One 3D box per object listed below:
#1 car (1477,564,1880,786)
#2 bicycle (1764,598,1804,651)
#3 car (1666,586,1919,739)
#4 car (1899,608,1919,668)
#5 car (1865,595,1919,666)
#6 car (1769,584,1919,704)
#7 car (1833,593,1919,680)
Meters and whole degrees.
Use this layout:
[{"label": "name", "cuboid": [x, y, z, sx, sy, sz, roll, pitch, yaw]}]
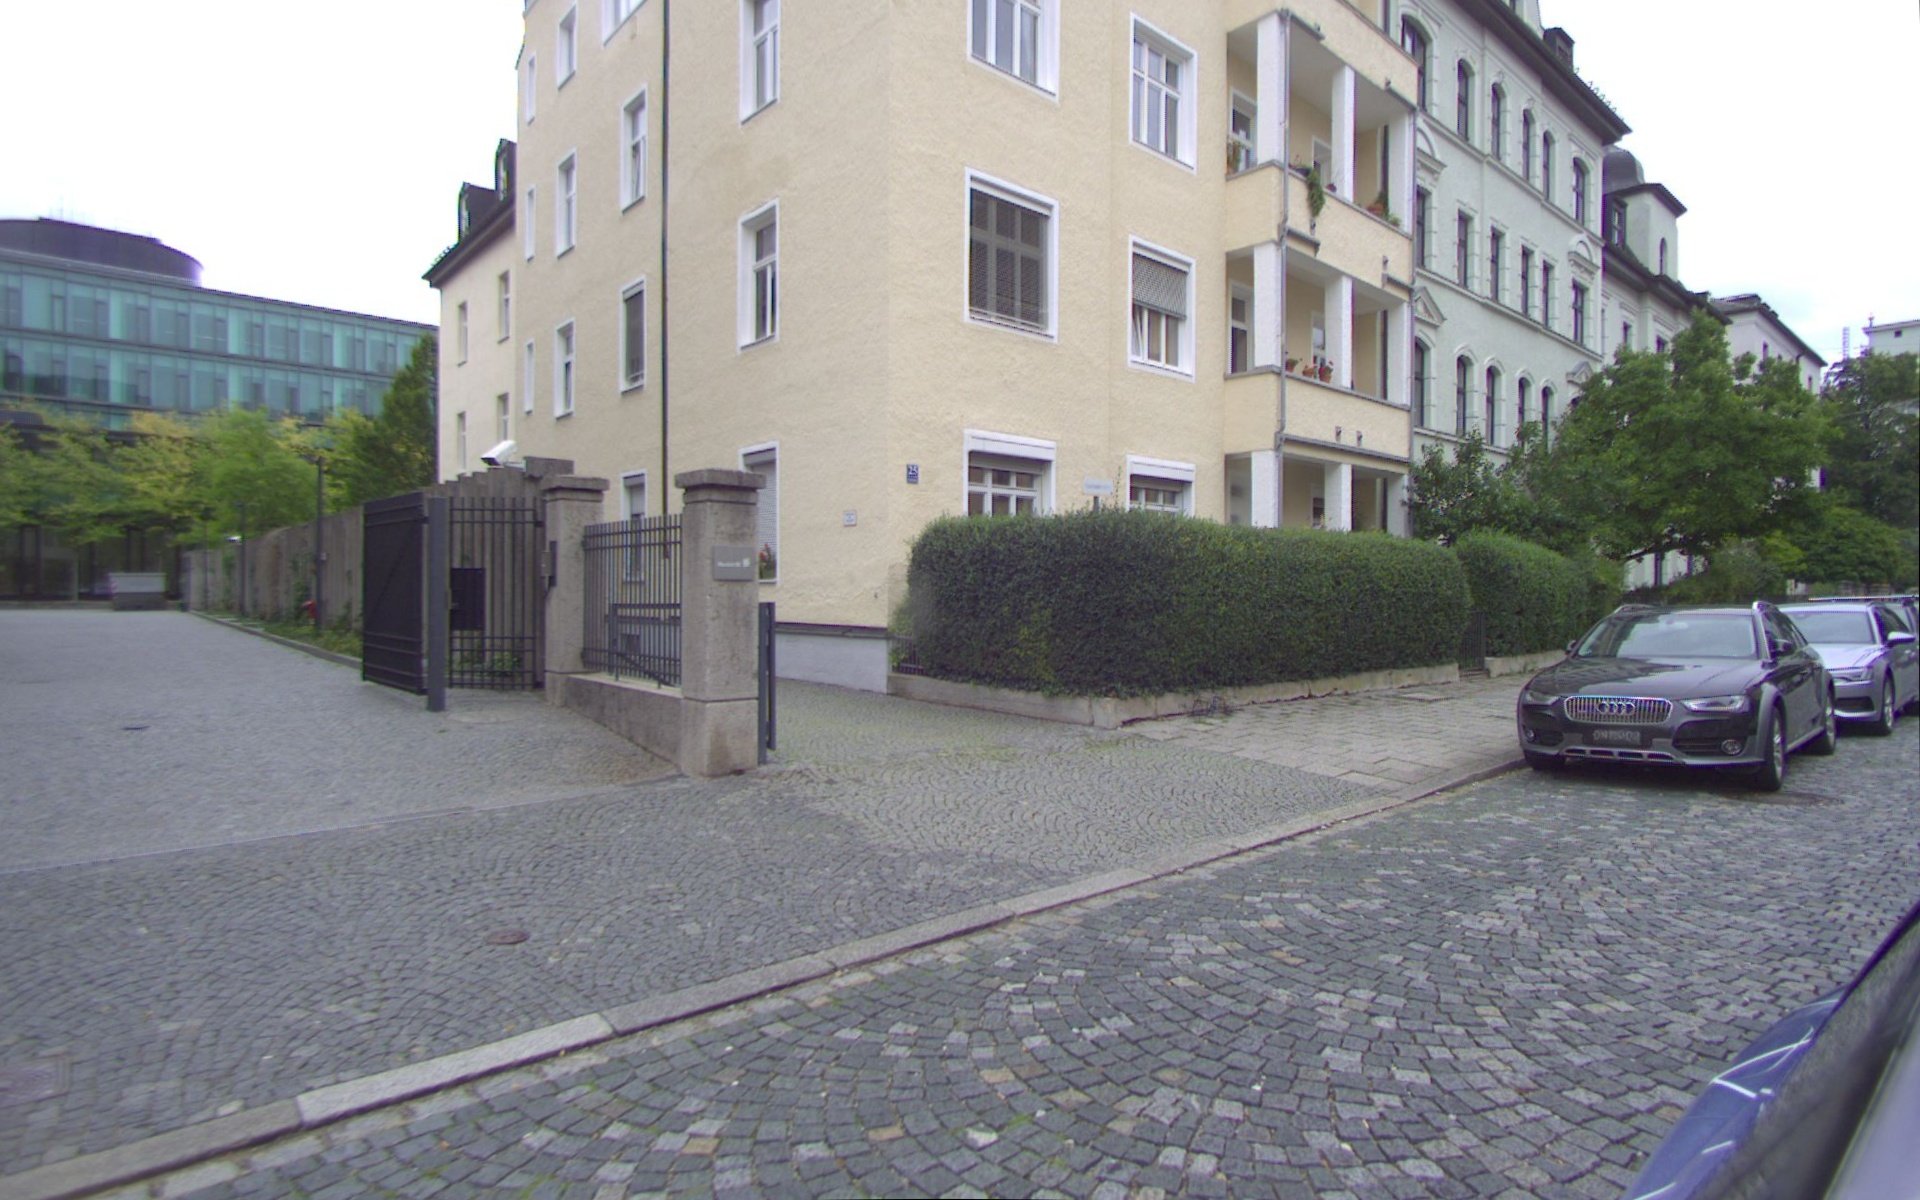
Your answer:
[{"label": "car", "cuboid": [6.949, 0.549, 9.548, 4.927, 1.572, 1.996, 0, -2, -41]}, {"label": "bicycle", "cuboid": [19.497, 0.550, 23.956, 0.578, 1.210, 1.628, 0, 0, 34]}, {"label": "car", "cuboid": [10.891, 0.655, 12.830, 4.898, 1.572, 1.997, 0, -1, -41]}, {"label": "car", "cuboid": [25.930, 0.936, 26.278, 4.402, 1.478, 1.758, 0, -2, -41]}, {"label": "car", "cuboid": [22.155, 0.627, 22.899, 4.729, 1.508, 1.885, 0, -2, -41]}, {"label": "car", "cuboid": [14.506, 0.611, 16.070, 4.220, 1.675, 1.896, 0, -1, -42]}, {"label": "car", "cuboid": [18.413, 0.626, 19.367, 4.961, 1.508, 1.821, 0, -2, -41]}]
